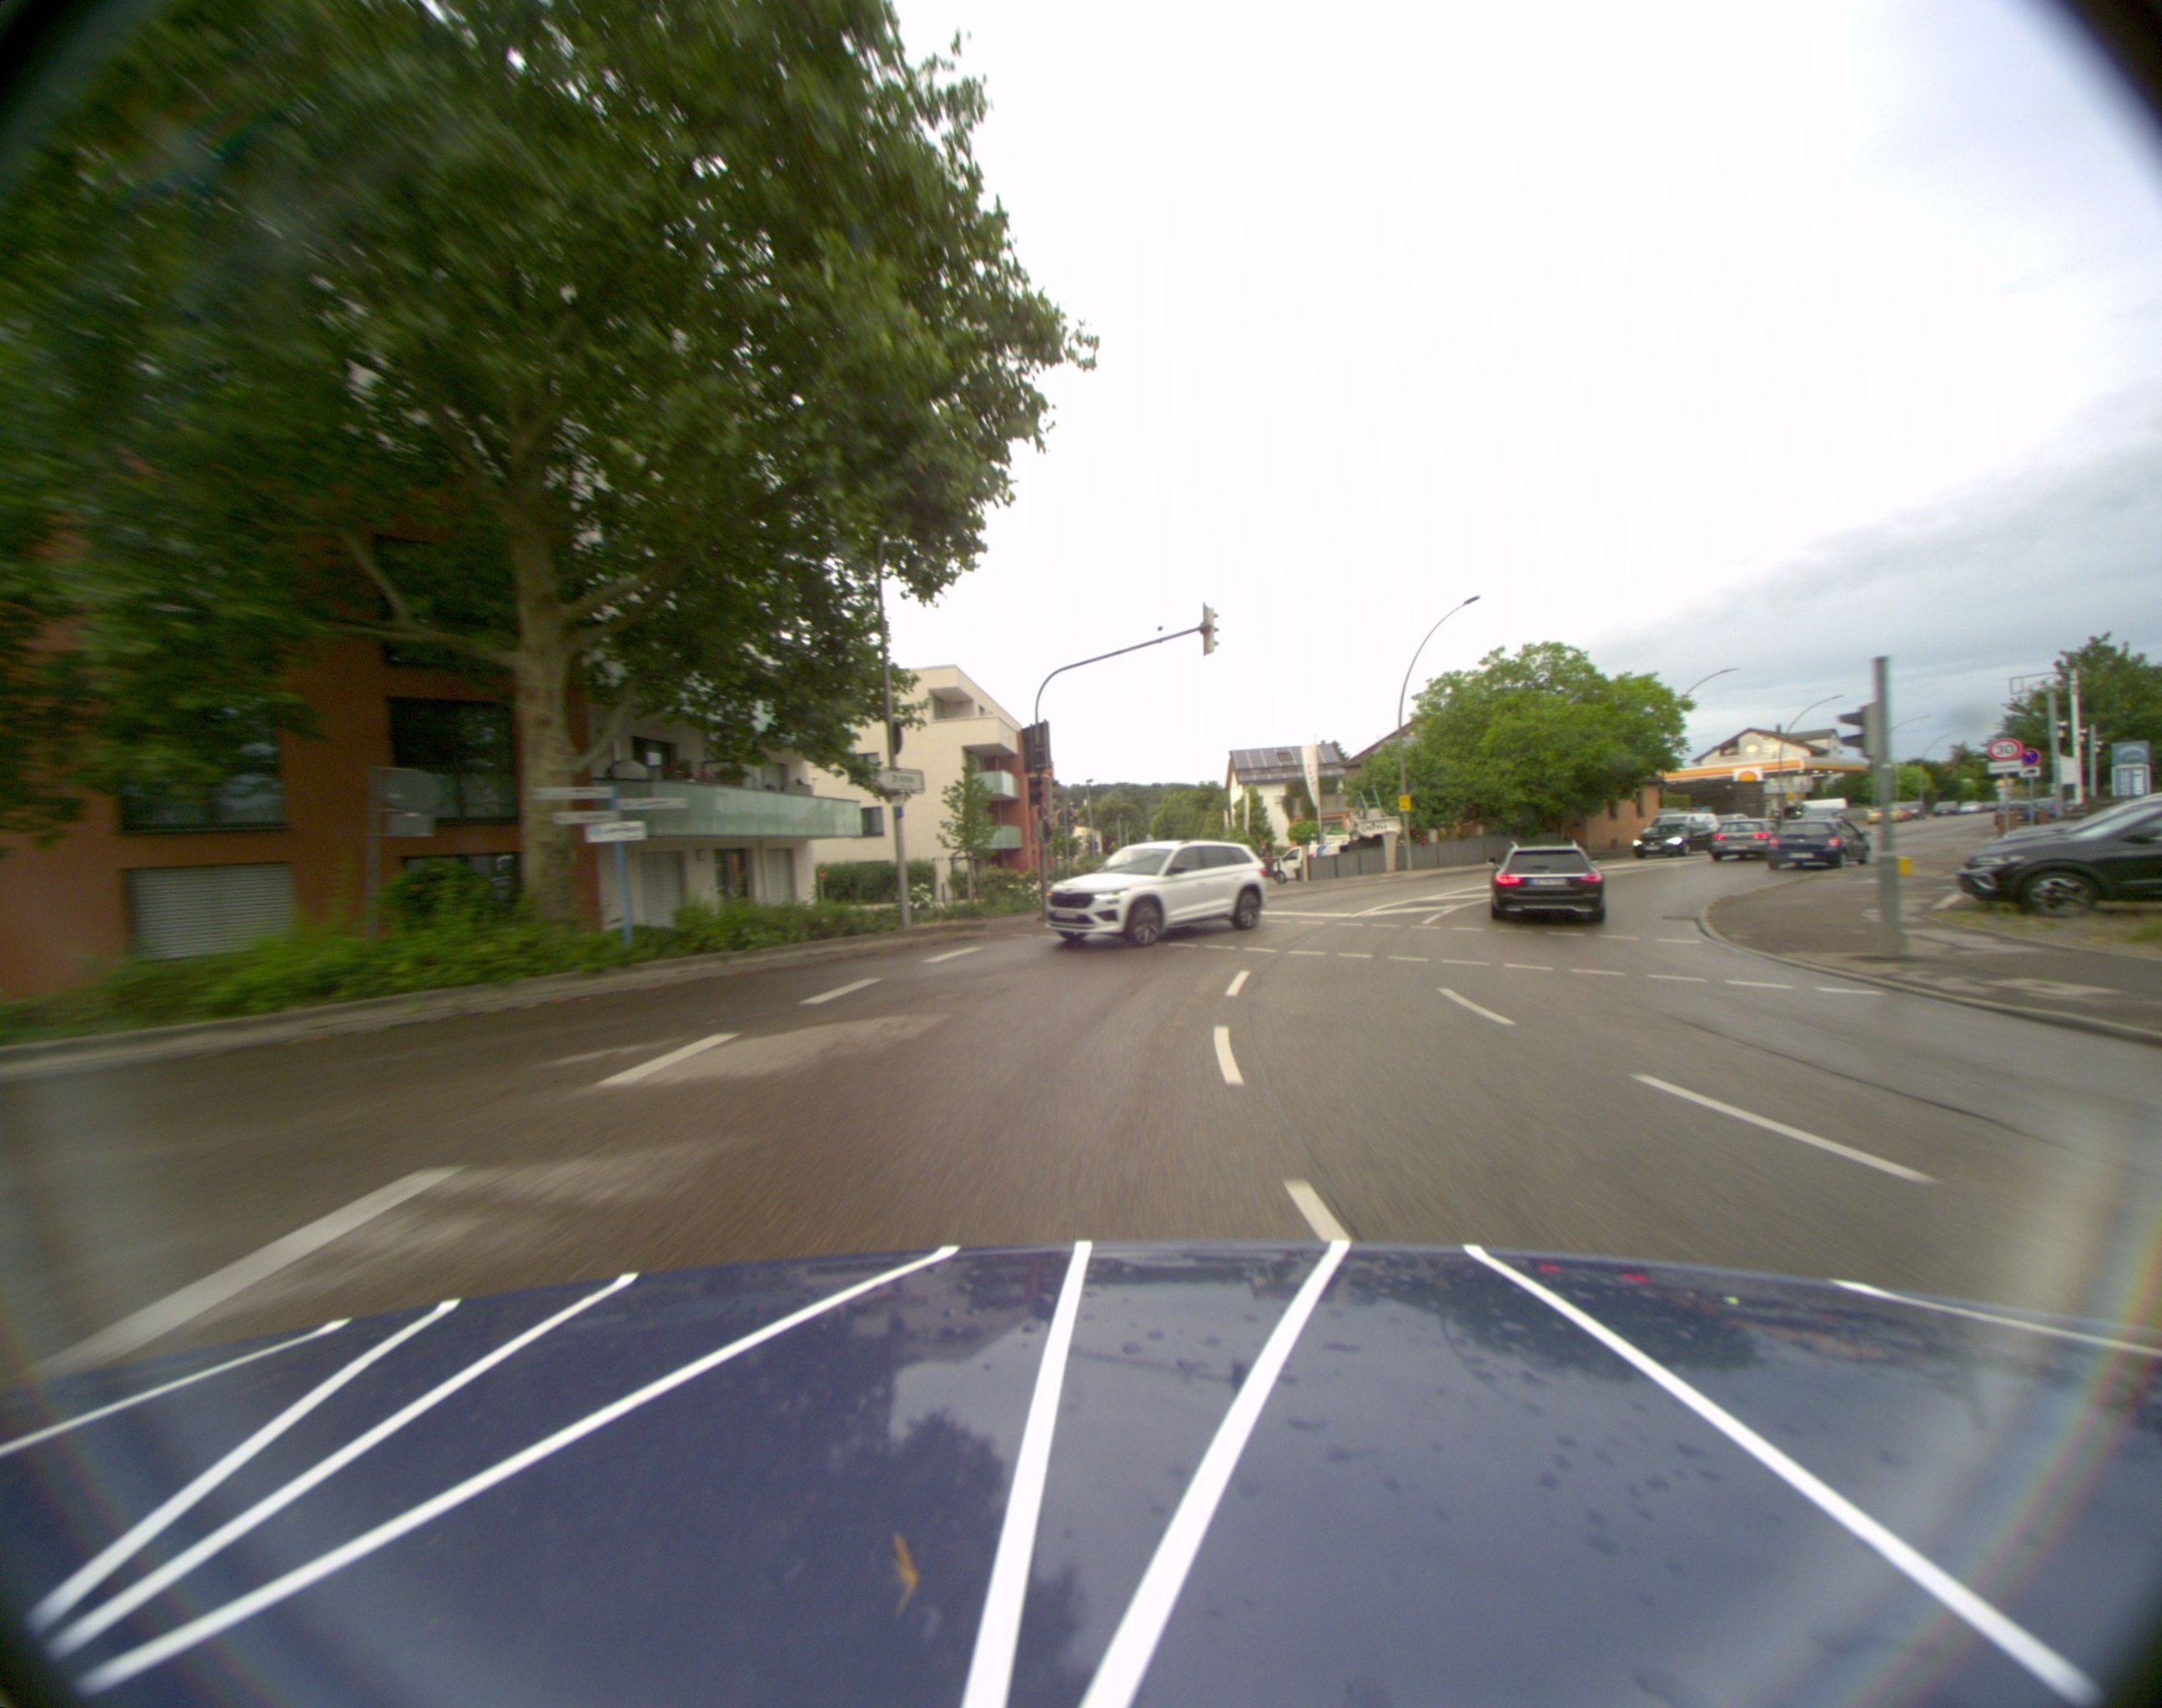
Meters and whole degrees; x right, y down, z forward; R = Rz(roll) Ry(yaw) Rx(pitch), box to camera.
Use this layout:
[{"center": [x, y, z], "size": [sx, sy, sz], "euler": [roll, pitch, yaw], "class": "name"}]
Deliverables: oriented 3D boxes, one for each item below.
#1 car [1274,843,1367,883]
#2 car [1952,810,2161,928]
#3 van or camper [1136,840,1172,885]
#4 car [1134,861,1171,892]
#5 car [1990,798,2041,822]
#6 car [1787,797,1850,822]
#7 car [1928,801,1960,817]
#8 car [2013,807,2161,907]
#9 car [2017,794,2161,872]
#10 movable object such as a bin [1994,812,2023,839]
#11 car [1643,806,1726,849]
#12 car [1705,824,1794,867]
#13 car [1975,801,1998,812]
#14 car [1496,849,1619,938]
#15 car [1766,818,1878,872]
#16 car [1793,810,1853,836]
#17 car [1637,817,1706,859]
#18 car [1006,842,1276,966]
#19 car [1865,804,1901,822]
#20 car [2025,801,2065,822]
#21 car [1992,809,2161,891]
[{"center": [12.161, 0.495, 38.832], "size": [2.003, 1.859, 4.127], "euler": [-3, -1, -33], "class": "car"}, {"center": [14.712, 0.155, 10.111], "size": [1.625, 1.521, 3.949], "euler": [-2, -1, -45], "class": "car"}, {"center": [5.358, 0.625, 55.915], "size": [2.324, 2.977, 5.953], "euler": [-3, -1, 5], "class": "van or camper"}, {"center": [3.624, 1.126, 38.681], "size": [1.726, 1.463, 2.744], "euler": [-3, -1, 4], "class": "car"}, {"center": [60.268, -2.849, 48.992], "size": [3.951, 1.395, 1.808], "euler": [-4, 2, -35], "class": "car"}, {"center": [84.723, -5.064, 87.379], "size": [4.791, 2.506, 2.251], "euler": [-2, 1, 33], "class": "car"}, {"center": [96.421, -5.049, 84.912], "size": [4.007, 1.587, 1.995], "euler": [-3, 1, -36], "class": "car"}, {"center": [17.456, -0.007, 11.562], "size": [1.694, 1.521, 3.950], "euler": [-3, -1, -34], "class": "car"}, {"center": [22.491, -0.476, 15.534], "size": [1.806, 1.535, 3.991], "euler": [-3, 0, -32], "class": "car"}, {"center": [40.488, -1.240, 33.159], "size": [0.736, 1.123, 0.708], "euler": [-4, 1, -34], "class": "movable object such as a bin"}, {"center": [30.861, -1.366, 38.843], "size": [4.761, 2.017, 1.780], "euler": [-3, -1, -32], "class": "car"}, {"center": [24.425, -0.306, 27.722], "size": [4.008, 1.448, 1.724], "euler": [-1, 0, -38], "class": "car"}, {"center": [125.629, -6.562, 105.424], "size": [4.117, 1.410, 1.753], "euler": [-3, 1, -35], "class": "car"}, {"center": [9.032, 0.649, 14.703], "size": [1.707, 1.384, 4.357], "euler": [-1, 1, 28], "class": "car"}, {"center": [22.375, -0.282, 22.913], "size": [3.689, 1.425, 1.628], "euler": [-4, 1, -33], "class": "car"}, {"center": [52.414, -2.211, 53.688], "size": [4.566, 1.652, 2.093], "euler": [-3, -1, -34], "class": "car"}, {"center": [24.782, -0.682, 31.839], "size": [1.774, 1.552, 4.007], "euler": [-4, 0, 45], "class": "car"}, {"center": [1.219, 0.718, 13.272], "size": [4.839, 1.651, 1.880], "euler": [-3, 1, -43], "class": "car"}, {"center": [70.270, -3.577, 66.565], "size": [3.807, 1.394, 1.657], "euler": [-4, 1, -35], "class": "car"}, {"center": [68.812, -3.055, 54.222], "size": [3.602, 1.395, 1.546], "euler": [-4, 2, -35], "class": "car"}, {"center": [19.860, -0.105, 13.806], "size": [1.806, 1.432, 3.991], "euler": [-3, 0, -32], "class": "car"}]
